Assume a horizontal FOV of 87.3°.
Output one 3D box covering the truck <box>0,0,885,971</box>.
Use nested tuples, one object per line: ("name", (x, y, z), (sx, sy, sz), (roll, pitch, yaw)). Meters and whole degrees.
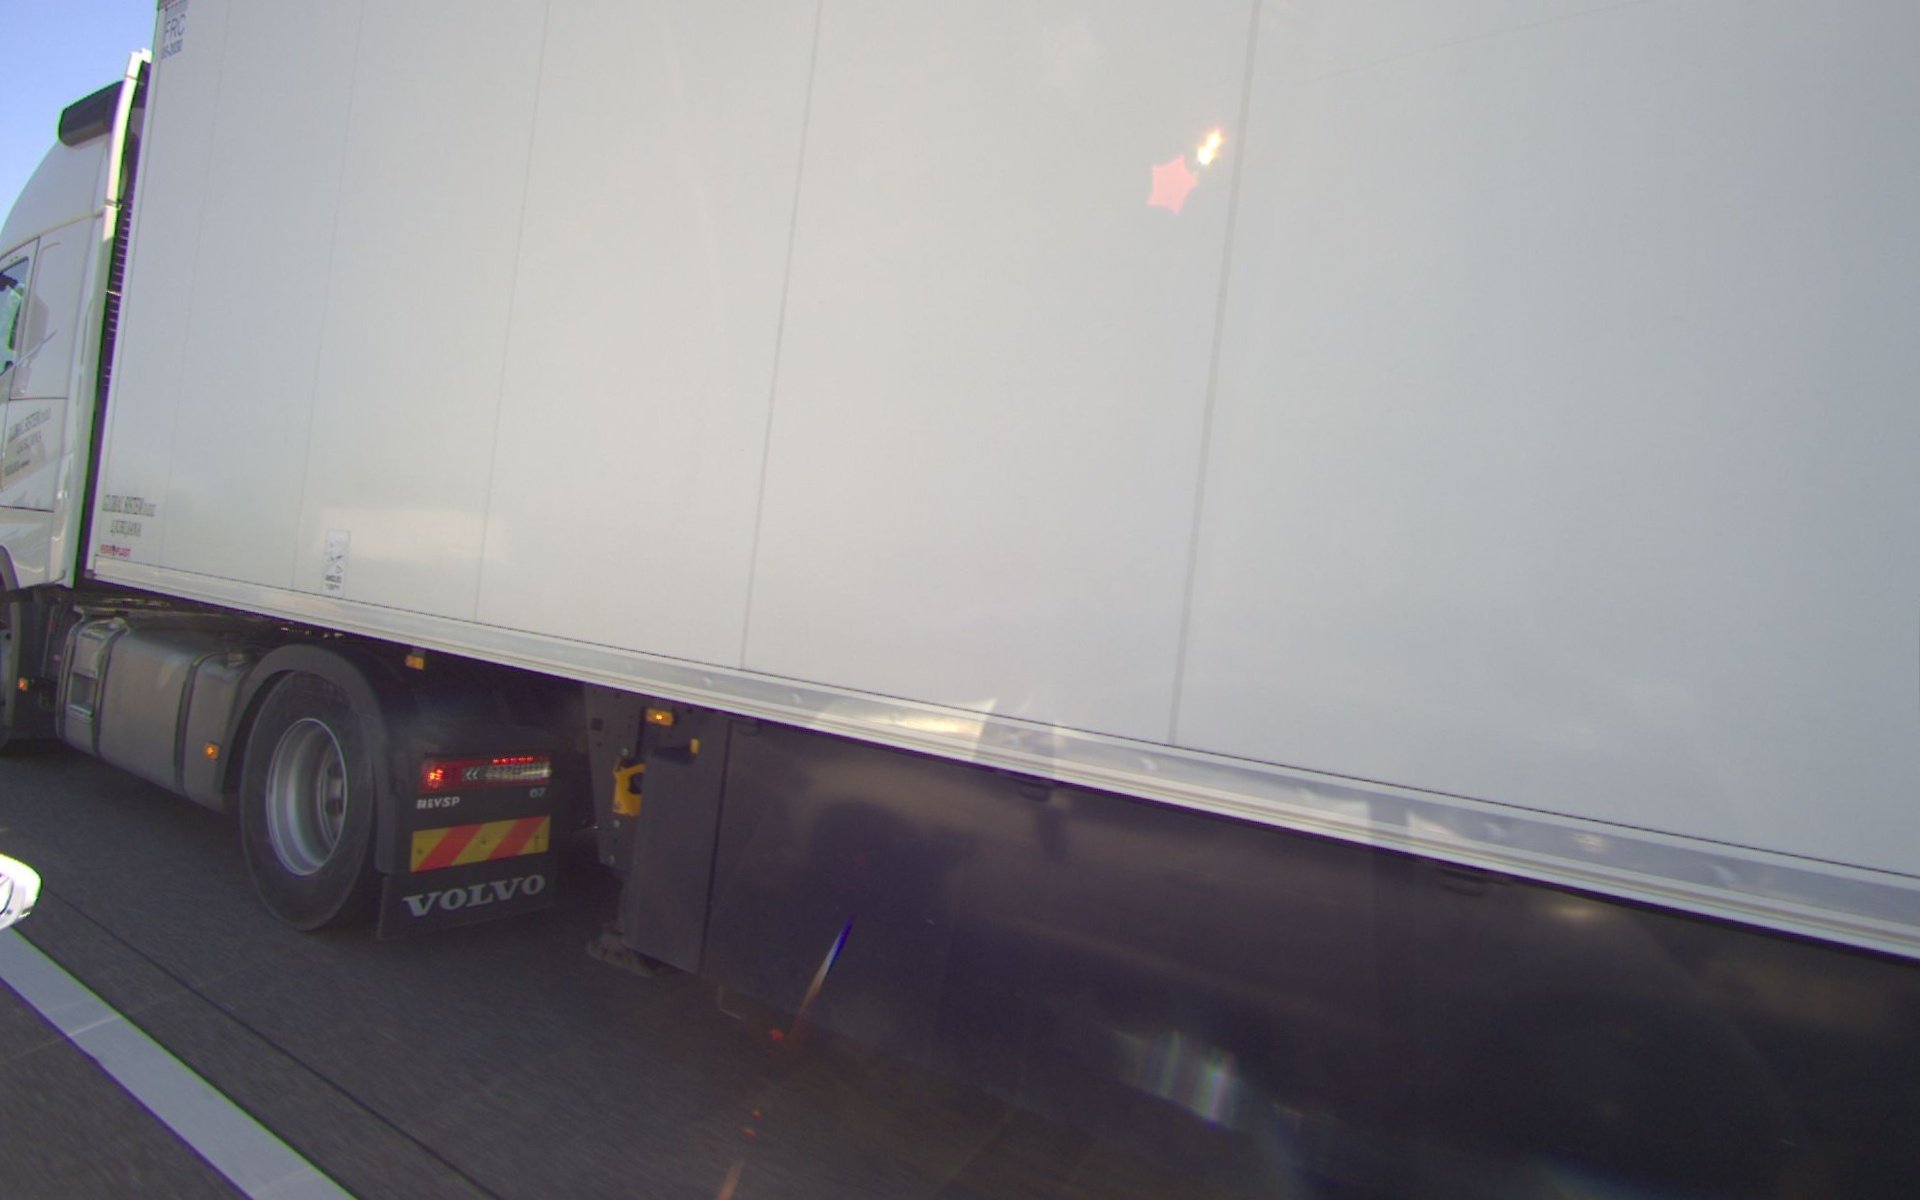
("truck", (-3.922, -0.936, 6.144), (6.215, 4.109, 2.475), (6, -1, 32))

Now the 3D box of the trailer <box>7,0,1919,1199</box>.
("trailer", (1.898, -0.302, 2.517), (13.650, 4.109, 2.475), (6, -1, 32))
